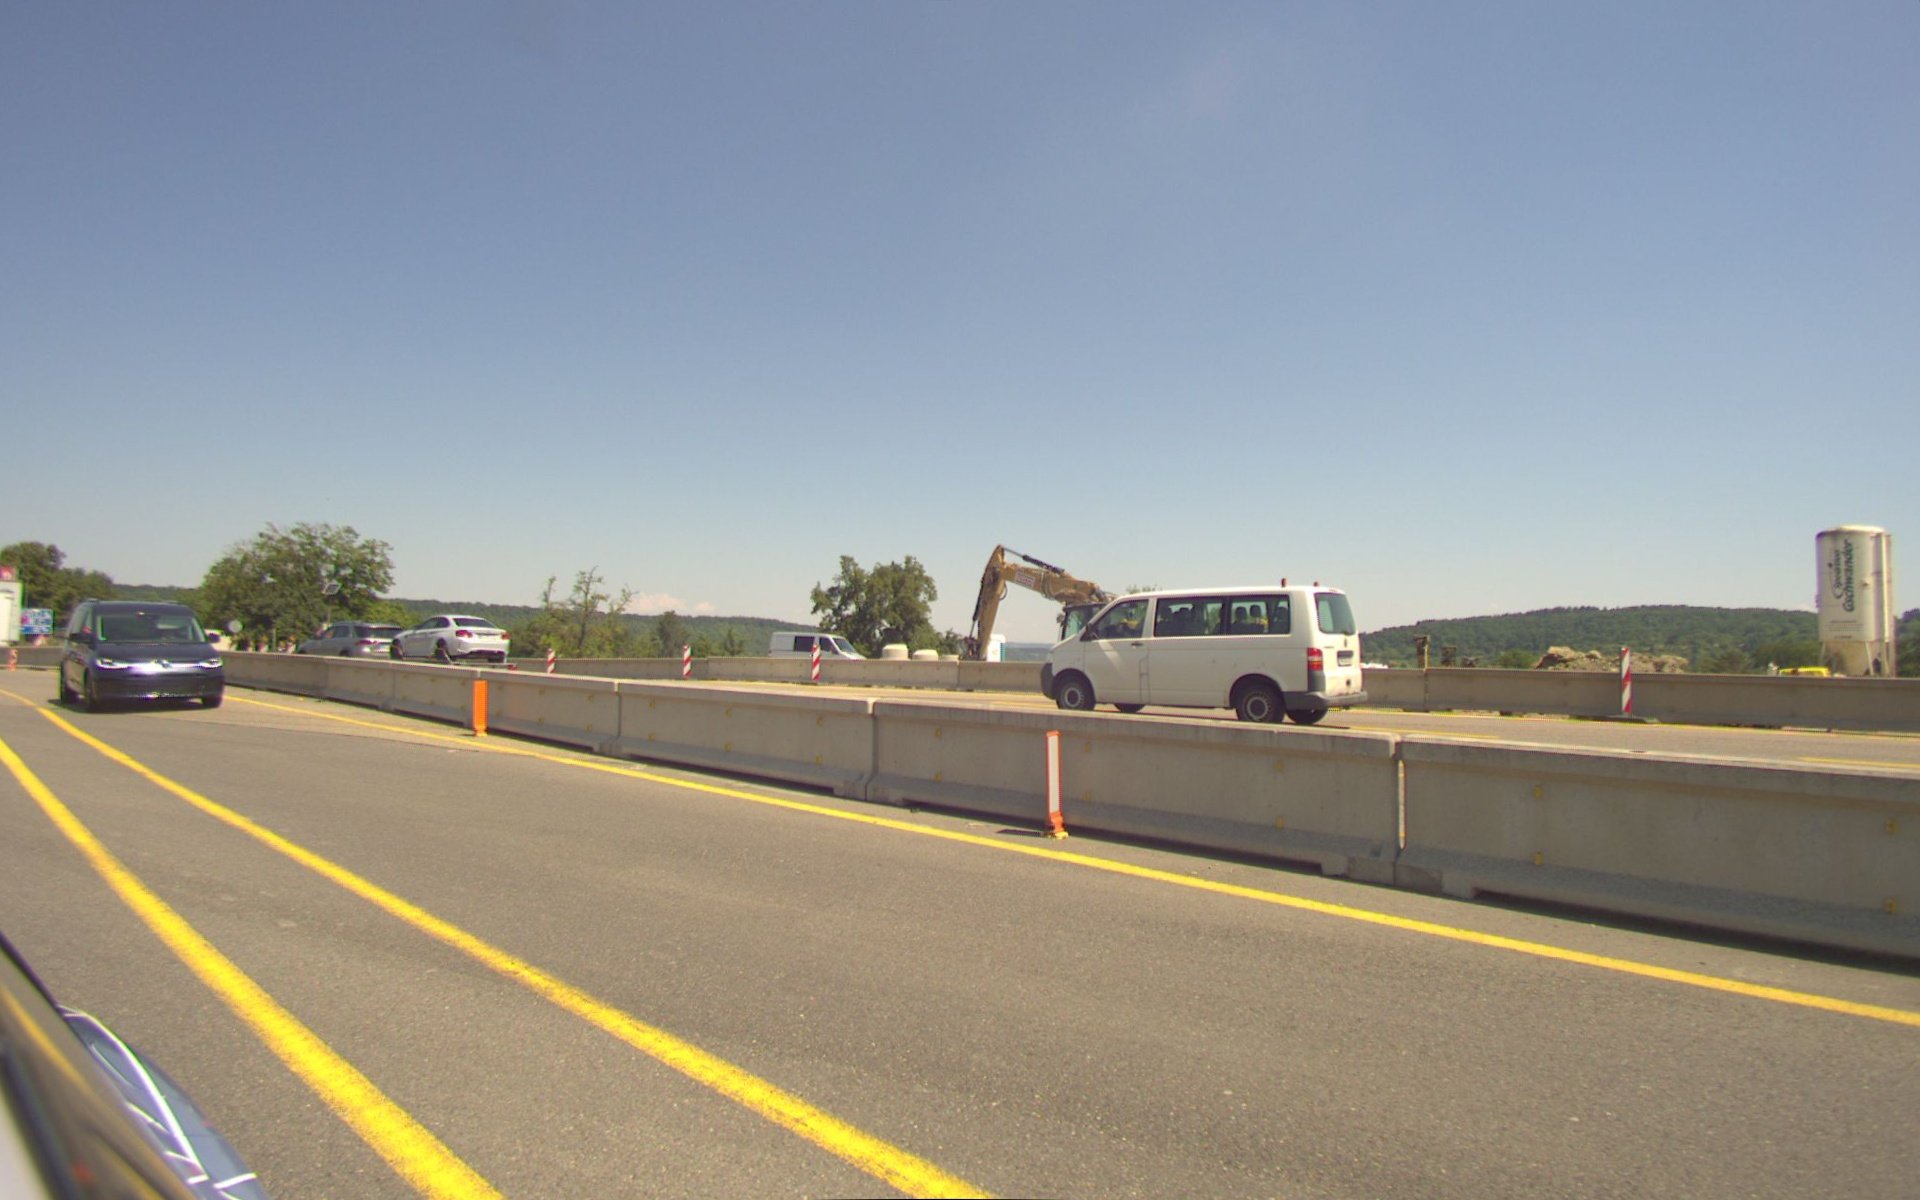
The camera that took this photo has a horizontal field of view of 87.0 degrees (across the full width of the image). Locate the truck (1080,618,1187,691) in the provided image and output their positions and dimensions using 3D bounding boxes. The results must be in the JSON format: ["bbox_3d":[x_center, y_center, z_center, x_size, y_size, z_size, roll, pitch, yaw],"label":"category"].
[{"bbox_3d":[7.601,2.370,44.284,4.237,3.067,2.330,-1,-3,23],"label":"truck"}]

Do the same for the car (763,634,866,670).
[{"bbox_3d":[-7.180,2.550,49.836,4.852,1.726,1.712,-1,-3,23],"label":"car"}]

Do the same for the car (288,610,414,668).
[{"bbox_3d":[-20.304,1.311,33.682,4.897,1.820,1.849,-2,-3,37],"label":"car"}]

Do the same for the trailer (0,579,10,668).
[{"bbox_3d":[-51.389,1.160,49.240,12.984,4.184,2.574,-1,-3,24],"label":"trailer"}]

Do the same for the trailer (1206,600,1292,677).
[{"bbox_3d":[12.333,1.656,42.888,2.865,3.020,5.539,-1,-3,22],"label":"trailer"}]

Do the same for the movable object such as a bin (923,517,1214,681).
[{"bbox_3d":[2.992,0.153,31.268,2.889,4.363,9.335,3,-4,-43],"label":"movable object such as a bin"}]

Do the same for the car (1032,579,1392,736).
[{"bbox_3d":[3.565,0.821,14.997,4.889,1.968,1.846,-2,-4,41],"label":"car"}]

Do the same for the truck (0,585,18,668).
[{"bbox_3d":[-42.842,1.101,42.203,6.883,3.407,2.567,-1,-3,23],"label":"truck"}]

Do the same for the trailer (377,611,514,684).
[{"bbox_3d":[-15.473,1.409,30.375,4.427,2.037,1.849,-2,-3,36],"label":"trailer"}]

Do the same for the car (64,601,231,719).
[{"bbox_3d":[-14.355,0.982,17.776,1.898,1.803,4.607,1,-2,-43],"label":"car"}]
